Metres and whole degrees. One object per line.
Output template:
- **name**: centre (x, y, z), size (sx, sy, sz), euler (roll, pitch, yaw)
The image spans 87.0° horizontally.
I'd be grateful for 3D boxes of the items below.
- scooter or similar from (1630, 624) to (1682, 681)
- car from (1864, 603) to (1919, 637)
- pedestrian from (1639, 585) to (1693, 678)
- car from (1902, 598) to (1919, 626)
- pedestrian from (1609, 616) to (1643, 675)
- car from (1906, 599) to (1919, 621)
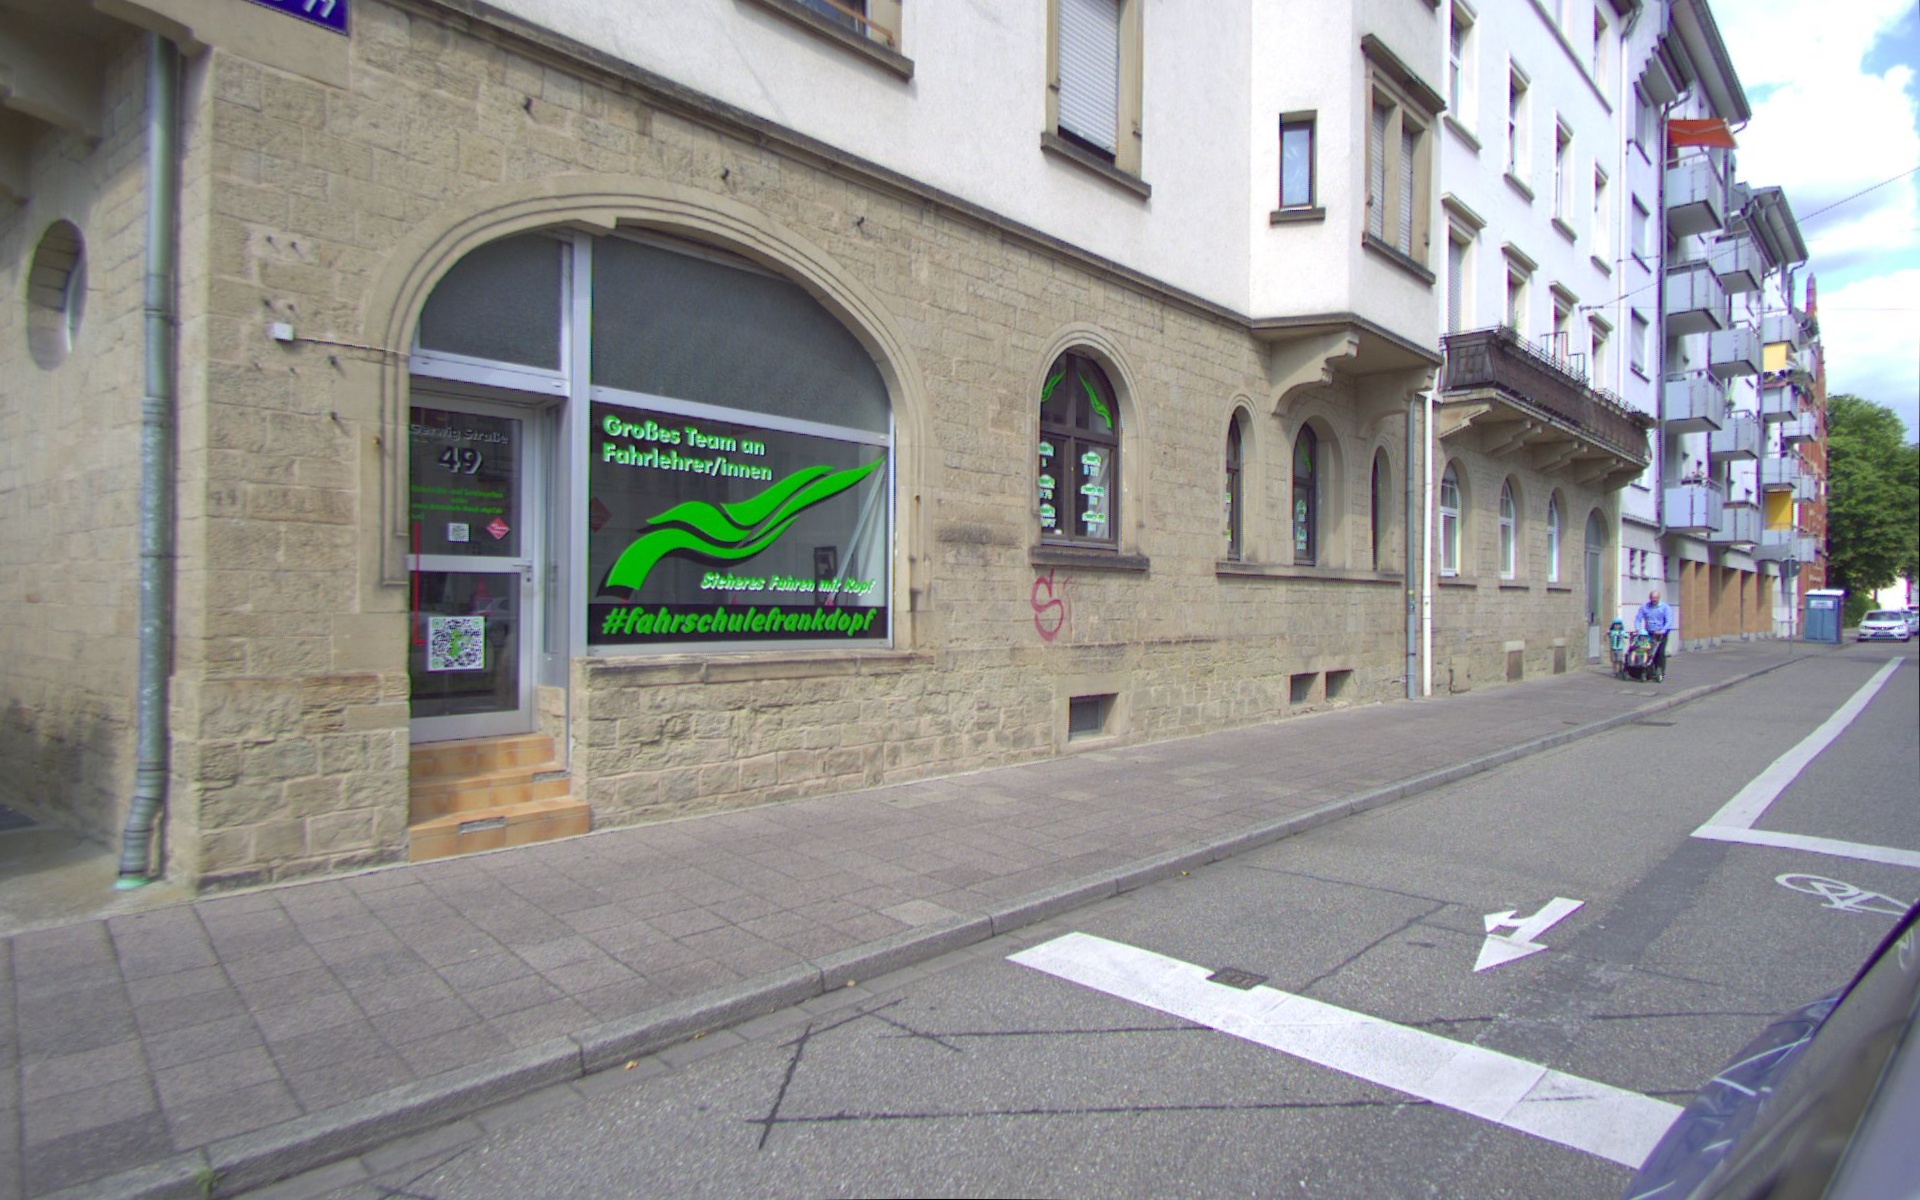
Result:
- **scooter or similar**: centre (13.419, 0.995, 19.505), size (0.890, 1.014, 0.593), euler (1, 4, -44)
- **car**: centre (43.750, 0.919, 47.453), size (3.975, 1.549, 1.797), euler (1, -1, -45)
- **pedestrian**: centre (14.012, 0.615, 20.088), size (0.862, 1.759, 0.622), euler (1, 3, -44)
- **car**: centre (55.301, 0.678, 57.986), size (3.975, 1.549, 1.797), euler (0, -1, -45)
- **pedestrian**: centre (13.356, 0.895, 20.294), size (0.486, 1.149, 0.456), euler (1, 0, -43)
- **car**: centre (70.304, 0.739, 73.757), size (3.975, 1.550, 1.797), euler (0, -2, -45)
